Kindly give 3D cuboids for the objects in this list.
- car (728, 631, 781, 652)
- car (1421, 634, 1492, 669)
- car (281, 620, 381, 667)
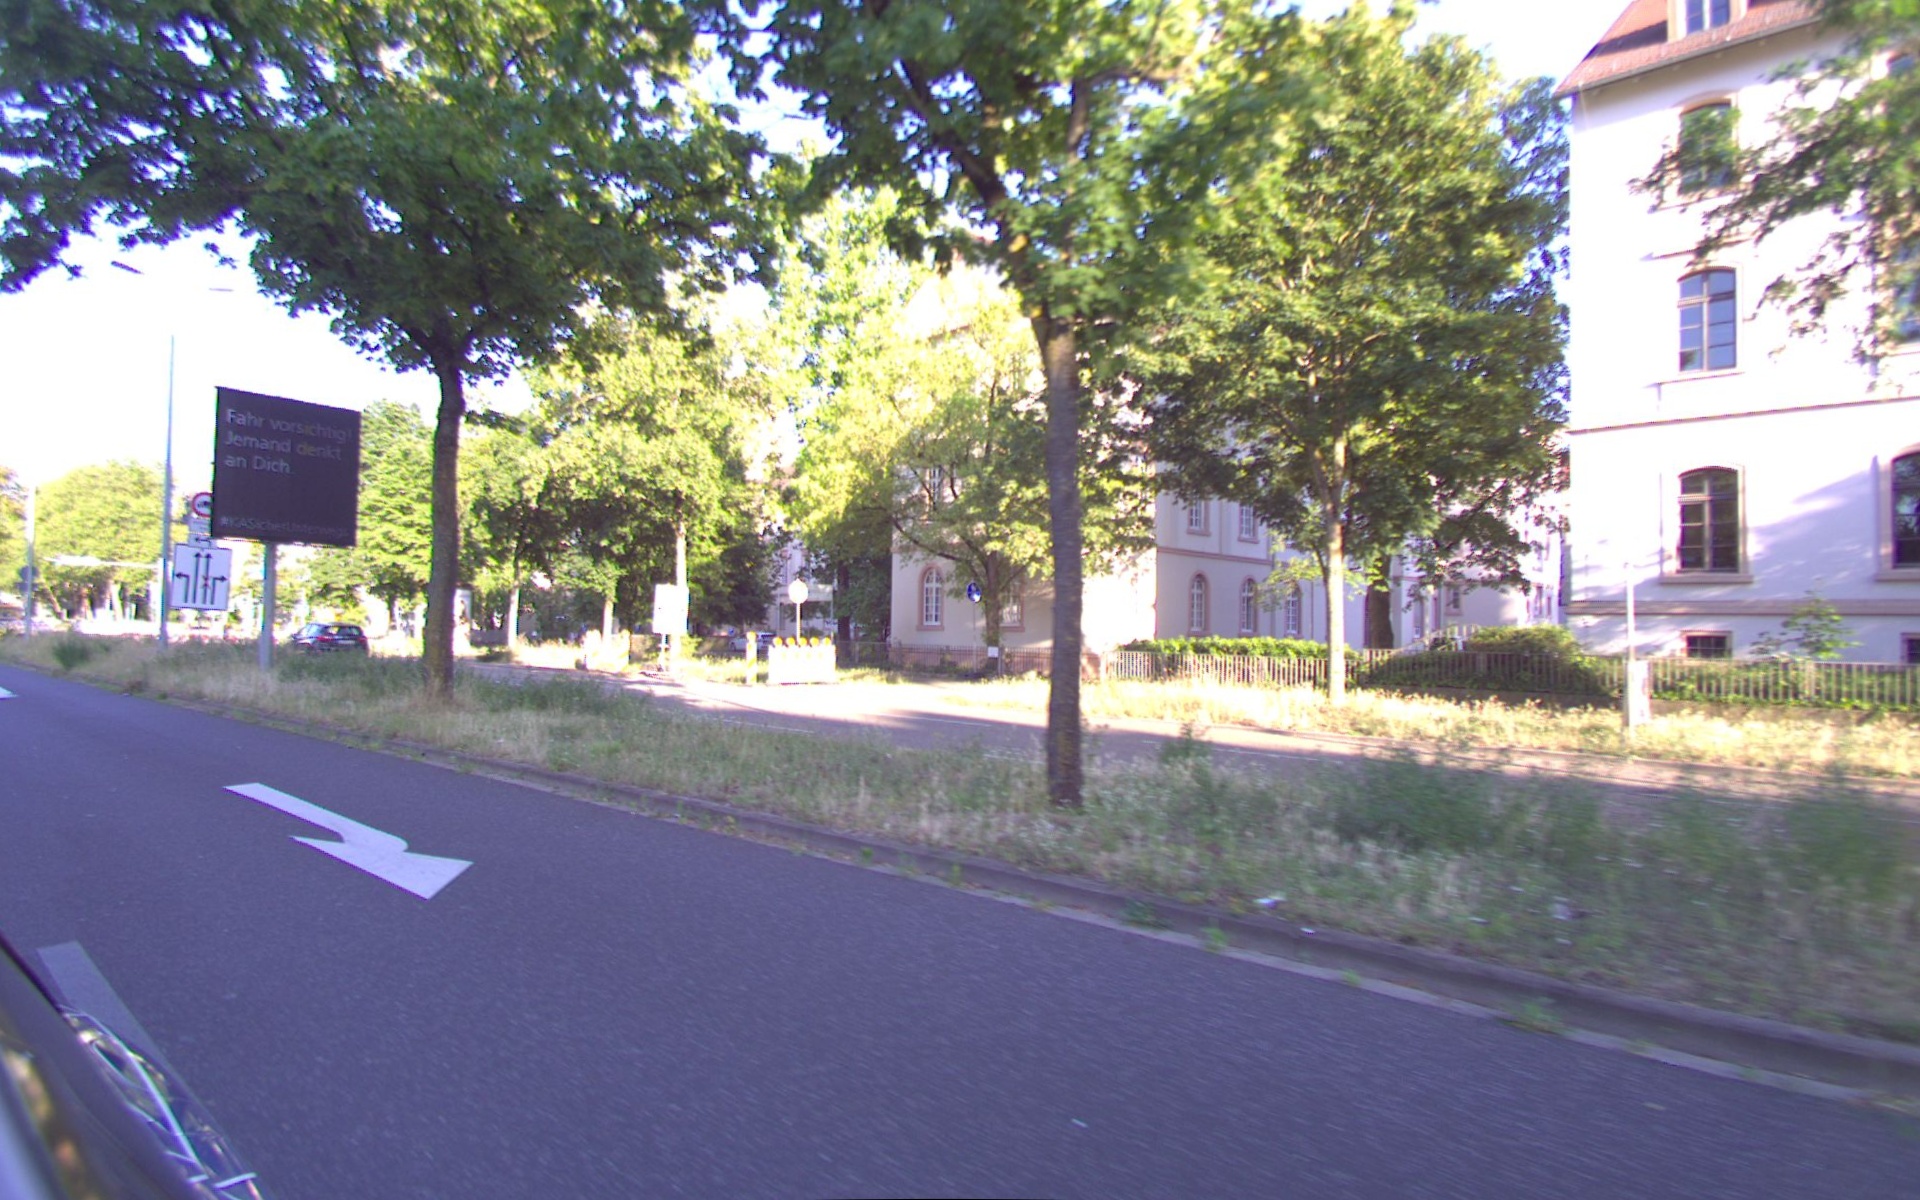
[{"bbox_3d":[-14.702,2.969,72.341,3.999,1.386,1.676,-1,-1,42],"label":"car"},{"bbox_3d":[23.553,2.452,47.947,3.947,1.560,1.781,3,-4,-44],"label":"car"},{"bbox_3d":[-21.347,1.461,34.300,4.007,1.428,1.755,-1,-6,43],"label":"car"}]
